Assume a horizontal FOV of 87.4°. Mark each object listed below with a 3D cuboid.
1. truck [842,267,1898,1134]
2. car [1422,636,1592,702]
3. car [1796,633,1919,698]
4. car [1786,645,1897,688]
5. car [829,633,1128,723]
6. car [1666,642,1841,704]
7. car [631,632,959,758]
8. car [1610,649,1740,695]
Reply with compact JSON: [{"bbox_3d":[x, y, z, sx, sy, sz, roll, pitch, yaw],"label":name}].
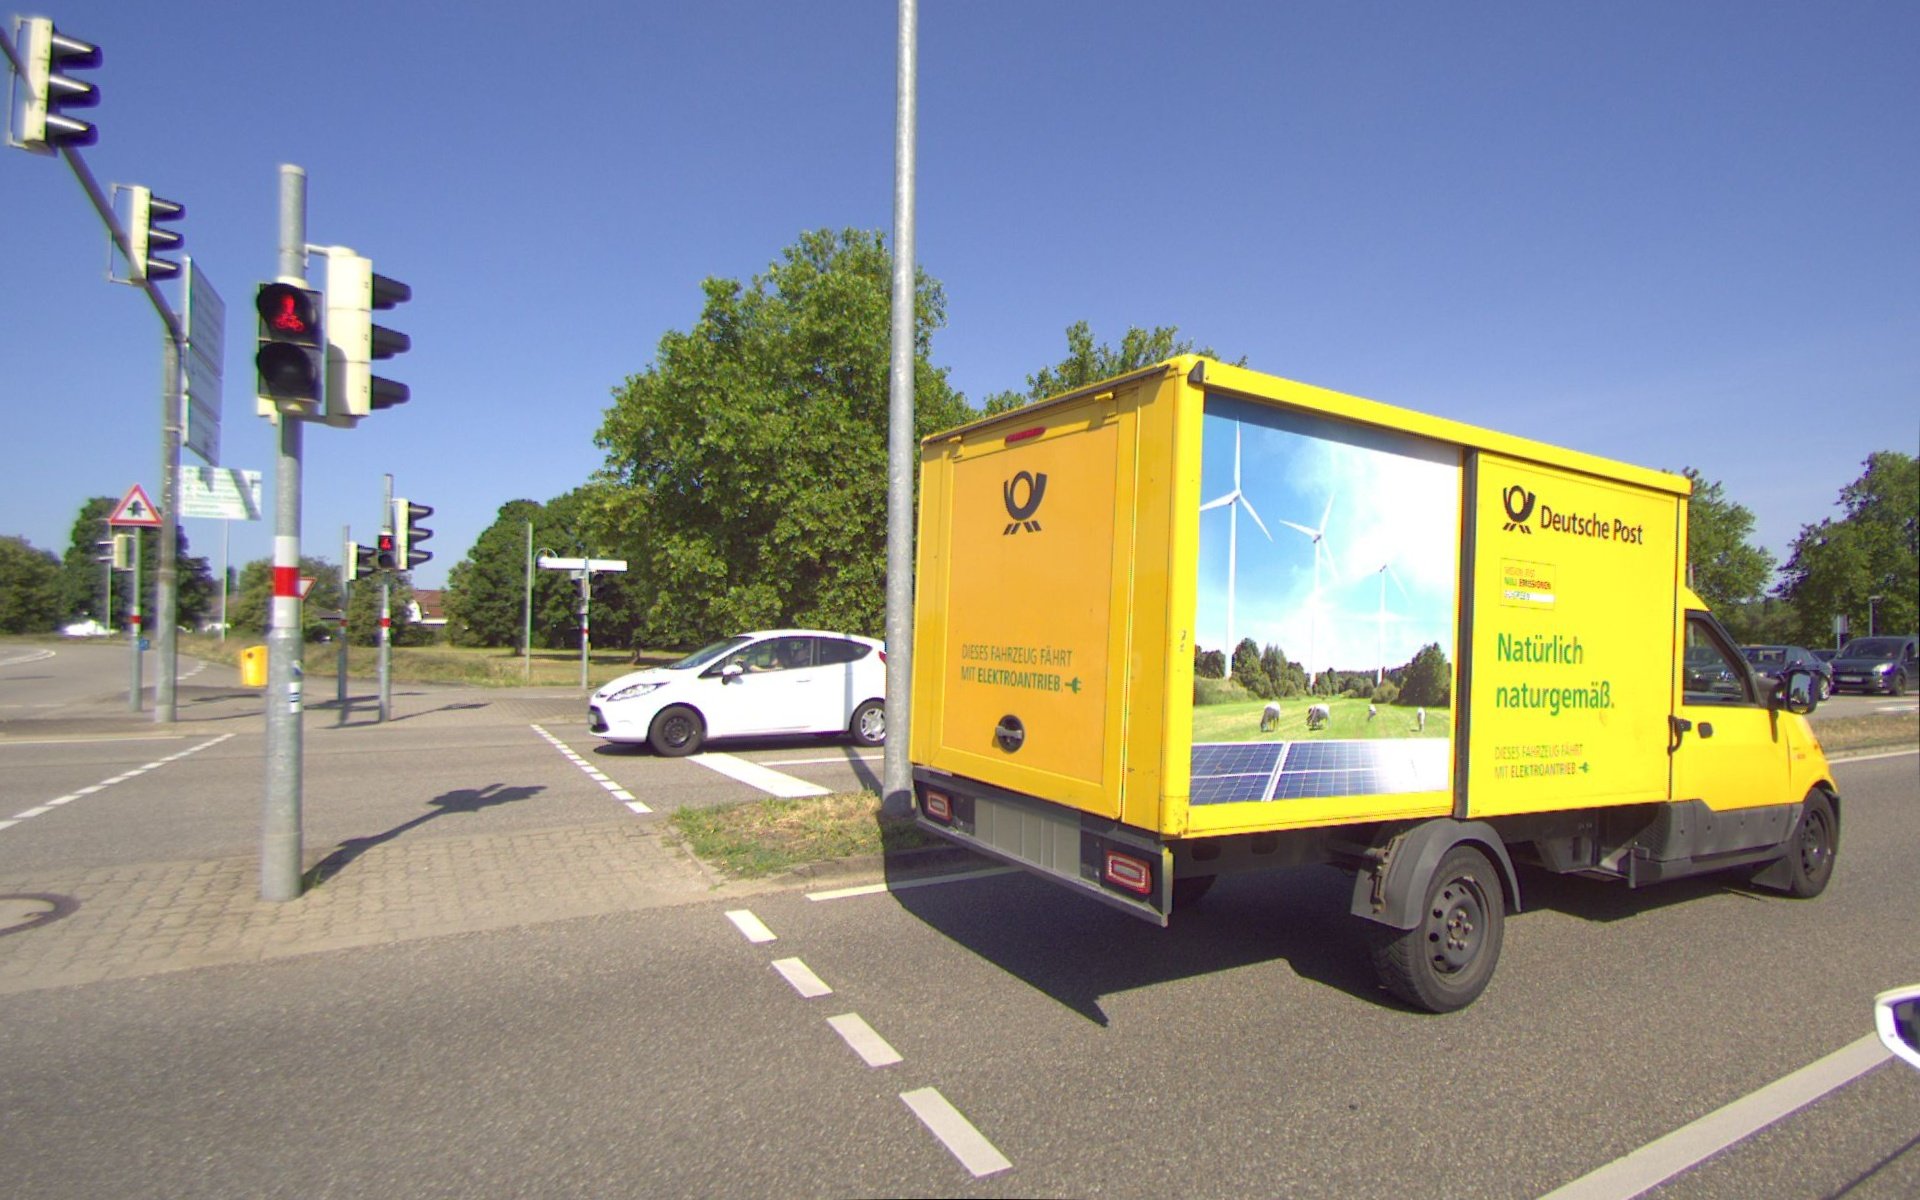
[{"bbox_3d":[2.500,0.376,5.318,5.849,2.490,2.101,2,-1,-31],"label":"truck"},{"bbox_3d":[14.816,1.832,27.161,4.438,1.643,2.061,2,-4,-31],"label":"car"},{"bbox_3d":[27.400,1.937,30.253,4.435,1.803,1.973,2,-2,-29],"label":"car"},{"bbox_3d":[33.708,2.505,38.390,4.354,1.565,1.854,2,-3,-30],"label":"car"},{"bbox_3d":[0.453,1.435,19.093,5.557,1.493,1.982,2,-4,-33],"label":"car"},{"bbox_3d":[20.496,1.839,25.914,4.394,1.476,1.973,2,-2,-28],"label":"car"},{"bbox_3d":[-2.097,1.160,12.910,3.795,1.404,1.822,2,-4,-28],"label":"car"},{"bbox_3d":[23.167,2.298,32.519,3.953,1.349,1.984,2,-2,-30],"label":"car"}]
